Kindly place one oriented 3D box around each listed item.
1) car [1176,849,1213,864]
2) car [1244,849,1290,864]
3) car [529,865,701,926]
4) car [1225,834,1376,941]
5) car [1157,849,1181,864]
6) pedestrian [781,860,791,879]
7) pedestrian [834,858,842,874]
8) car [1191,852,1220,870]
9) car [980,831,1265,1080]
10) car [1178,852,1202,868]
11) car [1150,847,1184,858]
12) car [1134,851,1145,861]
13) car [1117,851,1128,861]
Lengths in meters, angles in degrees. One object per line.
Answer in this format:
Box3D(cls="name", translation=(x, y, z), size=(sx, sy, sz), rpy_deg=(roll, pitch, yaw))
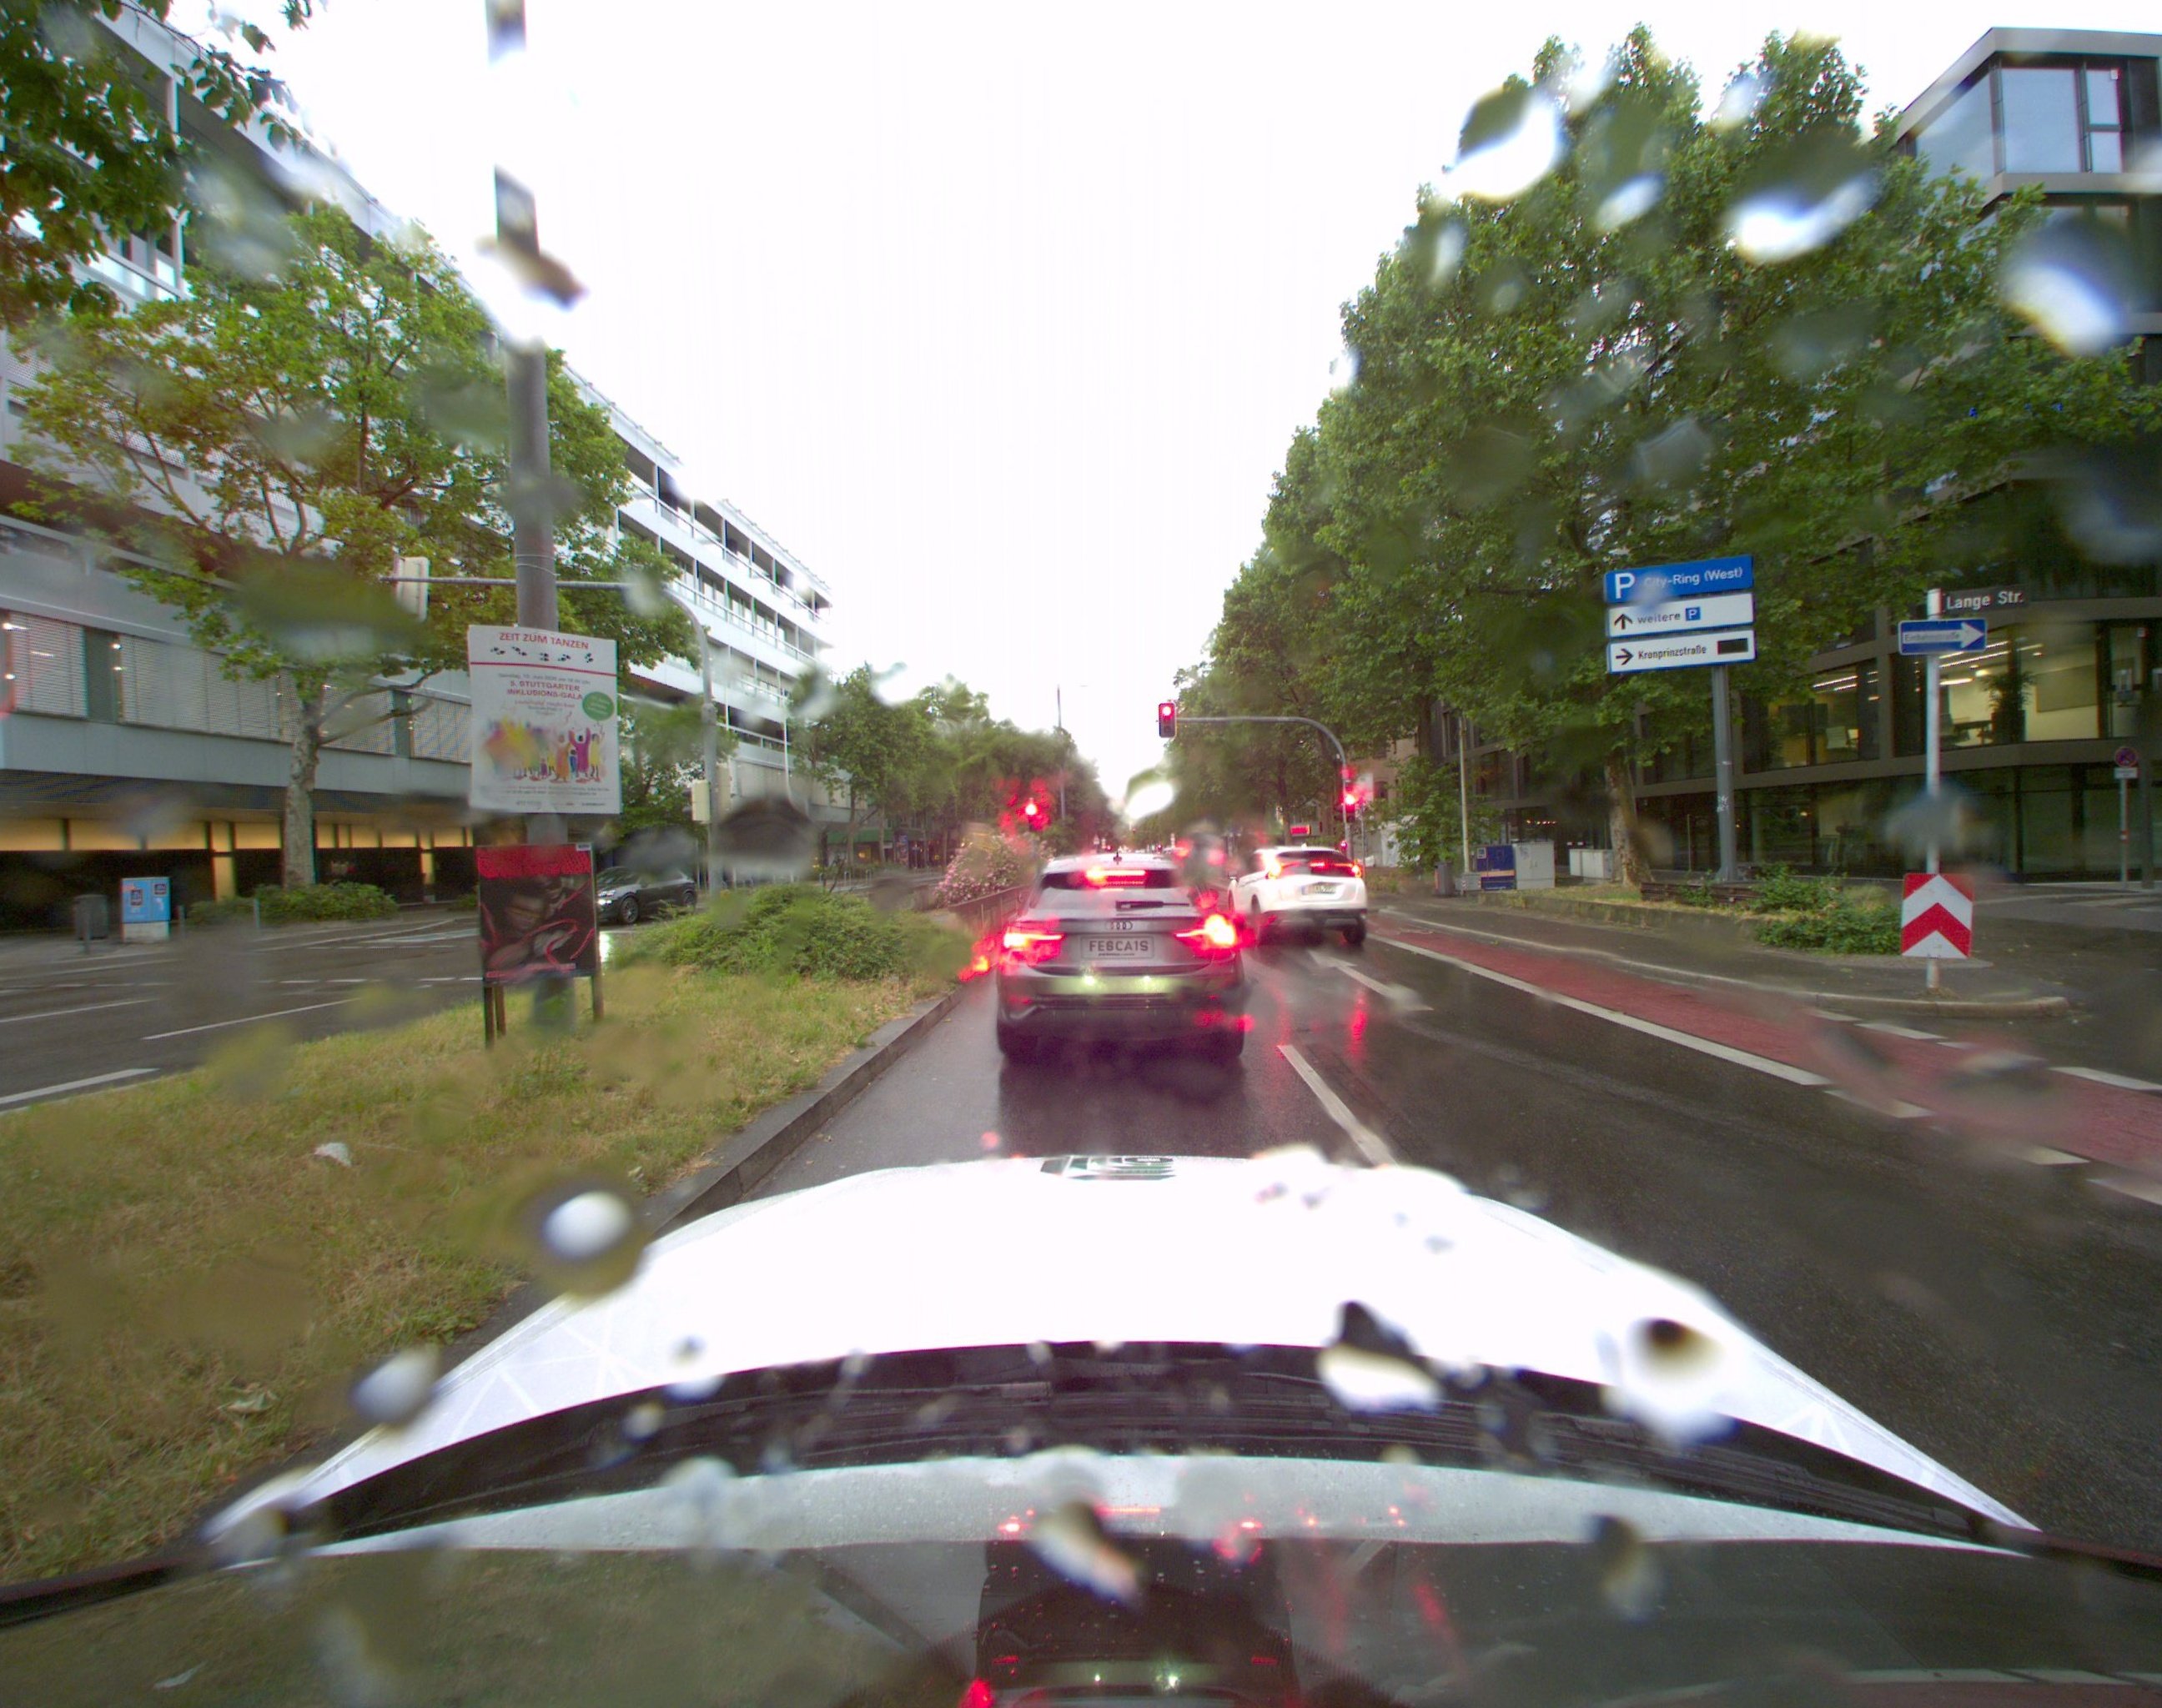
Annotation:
Box3D(cls="car", translation=(15.091, 0.376, 108.791), size=(4.548, 2.014, 1.980), rpy_deg=(-1, -1, 41))
Box3D(cls="car", translation=(13.328, 0.181, 58.326), size=(2.856, 1.074, 1.465), rpy_deg=(-1, -1, 33))
Box3D(cls="car", translation=(-13.375, 1.132, 23.800), size=(1.900, 1.584, 4.754), rpy_deg=(0, -1, 6))
Box3D(cls="car", translation=(3.856, 0.565, 15.006), size=(1.870, 1.697, 4.002), rpy_deg=(0, -1, 3))
Box3D(cls="car", translation=(10.831, 0.318, 100.400), size=(1.992, 1.726, 3.989), rpy_deg=(0, -1, -8))
Box3D(cls="pedestrian", translation=(-21.936, 1.124, 60.521), size=(0.637, 1.380, 0.473), rpy_deg=(0, -1, -9))
Box3D(cls="pedestrian", translation=(-21.978, 1.097, 73.641), size=(0.609, 1.482, 0.573), rpy_deg=(0, -1, -9))
Box3D(cls="car", translation=(10.418, 0.591, 68.458), size=(1.865, 1.421, 4.614), rpy_deg=(0, 0, 3))
Box3D(cls="car", translation=(0.332, 0.676, 7.372), size=(1.842, 1.602, 4.001), rpy_deg=(-1, 0, 2))
Box3D(cls="car", translation=(10.609, 0.589, 79.324), size=(1.723, 1.571, 4.070), rpy_deg=(0, -1, -2))
Box3D(cls="car", translation=(13.020, -0.211, 123.072), size=(4.594, 1.706, 2.012), rpy_deg=(-1, -1, 30))
Box3D(cls="car", translation=(10.407, 0.340, 145.032), size=(1.985, 1.651, 4.003), rpy_deg=(0, -1, 3))
Box3D(cls="car", translation=(7.057, 0.341, 138.604), size=(1.889, 1.599, 3.940), rpy_deg=(0, -1, 2))
